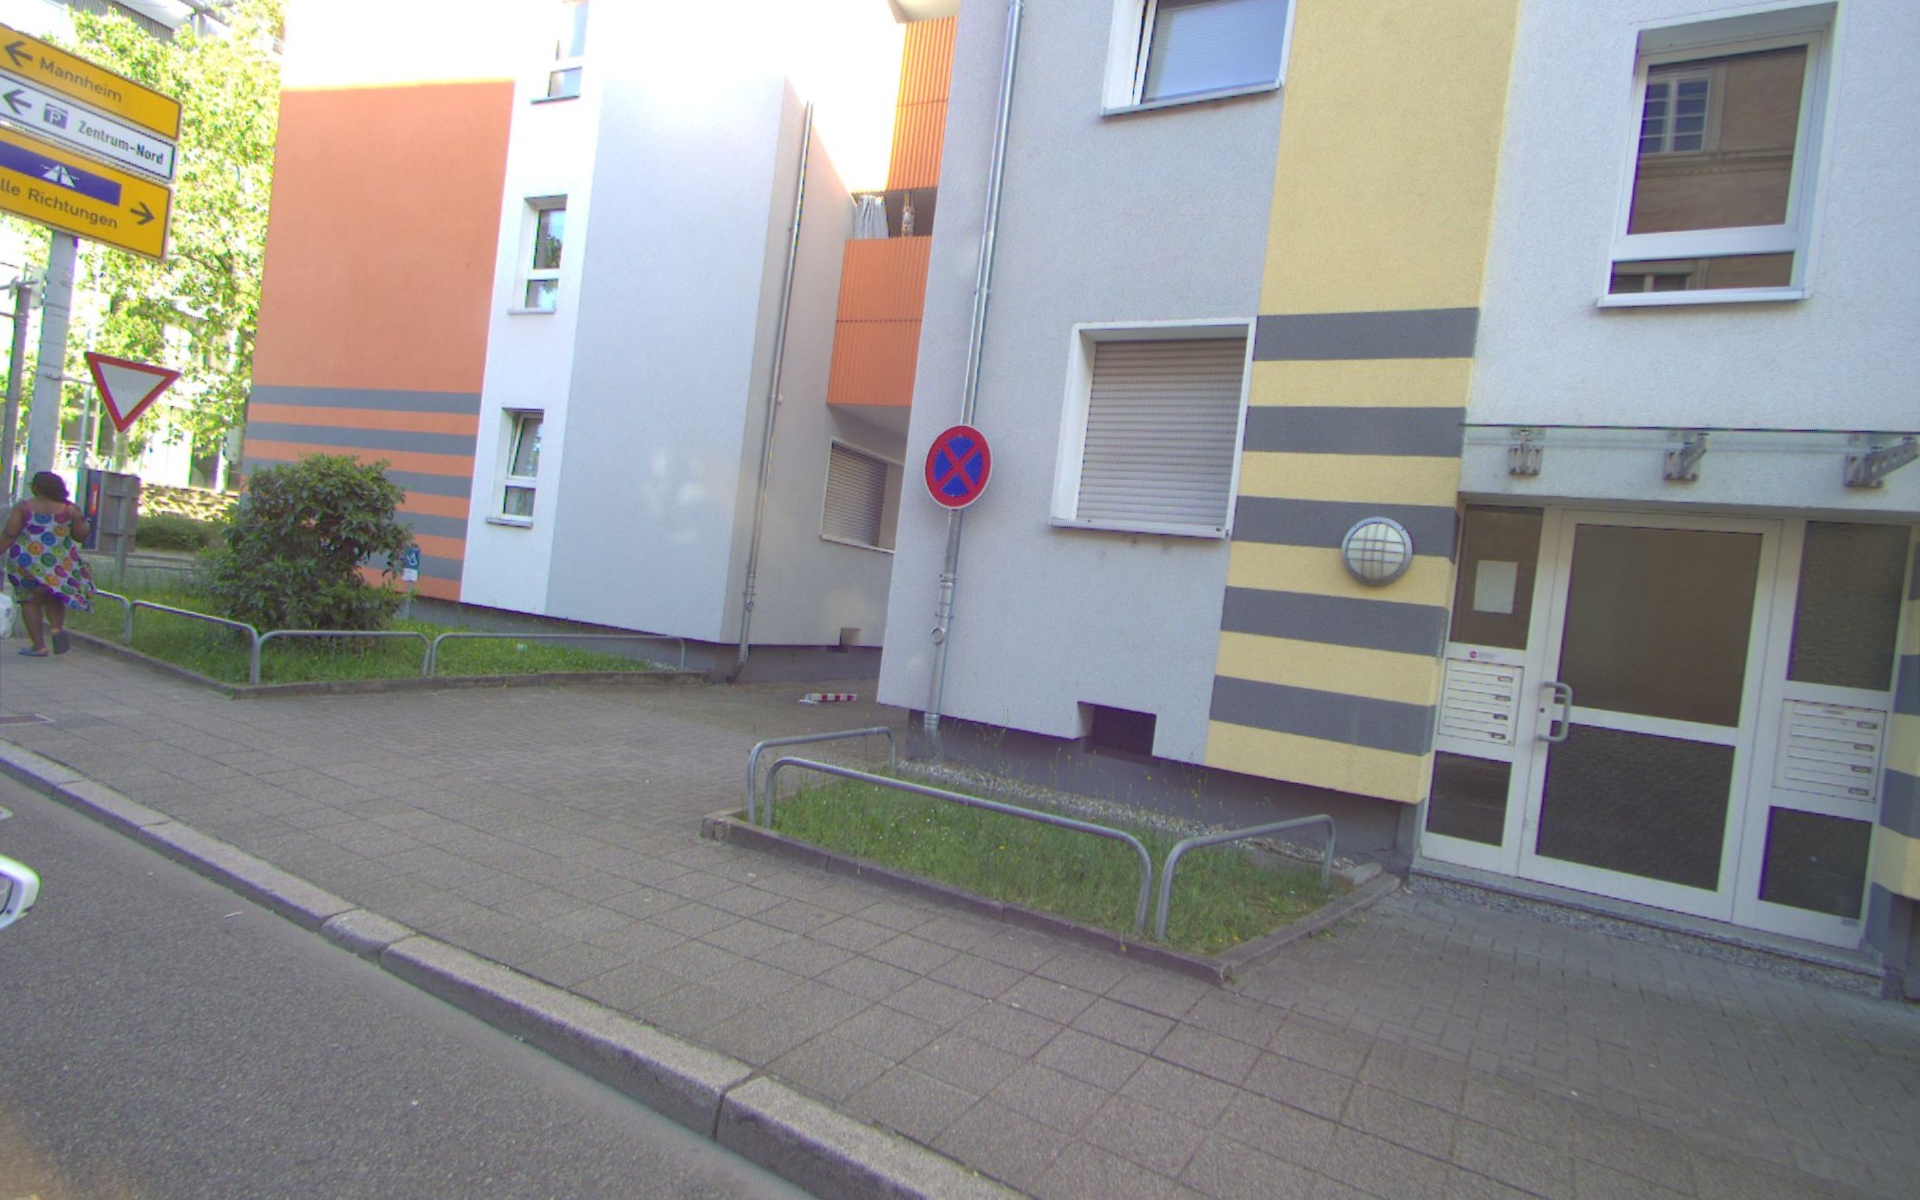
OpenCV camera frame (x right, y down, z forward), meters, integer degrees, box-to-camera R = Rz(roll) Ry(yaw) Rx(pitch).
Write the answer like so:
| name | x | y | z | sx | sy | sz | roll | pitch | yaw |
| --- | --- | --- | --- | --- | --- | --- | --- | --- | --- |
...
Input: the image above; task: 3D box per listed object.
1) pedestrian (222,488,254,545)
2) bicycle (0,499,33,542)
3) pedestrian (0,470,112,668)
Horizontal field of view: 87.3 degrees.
| name | x | y | z | sx | sy | sz | roll | pitch | yaw |
| --- | --- | --- | --- | --- | --- | --- | --- | --- | --- |
| pedestrian | -25.094 | -2.904 | 34.974 | 1.026 | 1.854 | 0.536 | 8 | 1 | 42 |
| bicycle | -26.449 | -2.241 | 27.297 | 1.883 | 1.062 | 0.463 | 7 | 1 | -10 |
| pedestrian | -7.877 | -0.275 | 8.448 | 0.738 | 1.595 | 0.953 | 7 | 4 | 33 |
